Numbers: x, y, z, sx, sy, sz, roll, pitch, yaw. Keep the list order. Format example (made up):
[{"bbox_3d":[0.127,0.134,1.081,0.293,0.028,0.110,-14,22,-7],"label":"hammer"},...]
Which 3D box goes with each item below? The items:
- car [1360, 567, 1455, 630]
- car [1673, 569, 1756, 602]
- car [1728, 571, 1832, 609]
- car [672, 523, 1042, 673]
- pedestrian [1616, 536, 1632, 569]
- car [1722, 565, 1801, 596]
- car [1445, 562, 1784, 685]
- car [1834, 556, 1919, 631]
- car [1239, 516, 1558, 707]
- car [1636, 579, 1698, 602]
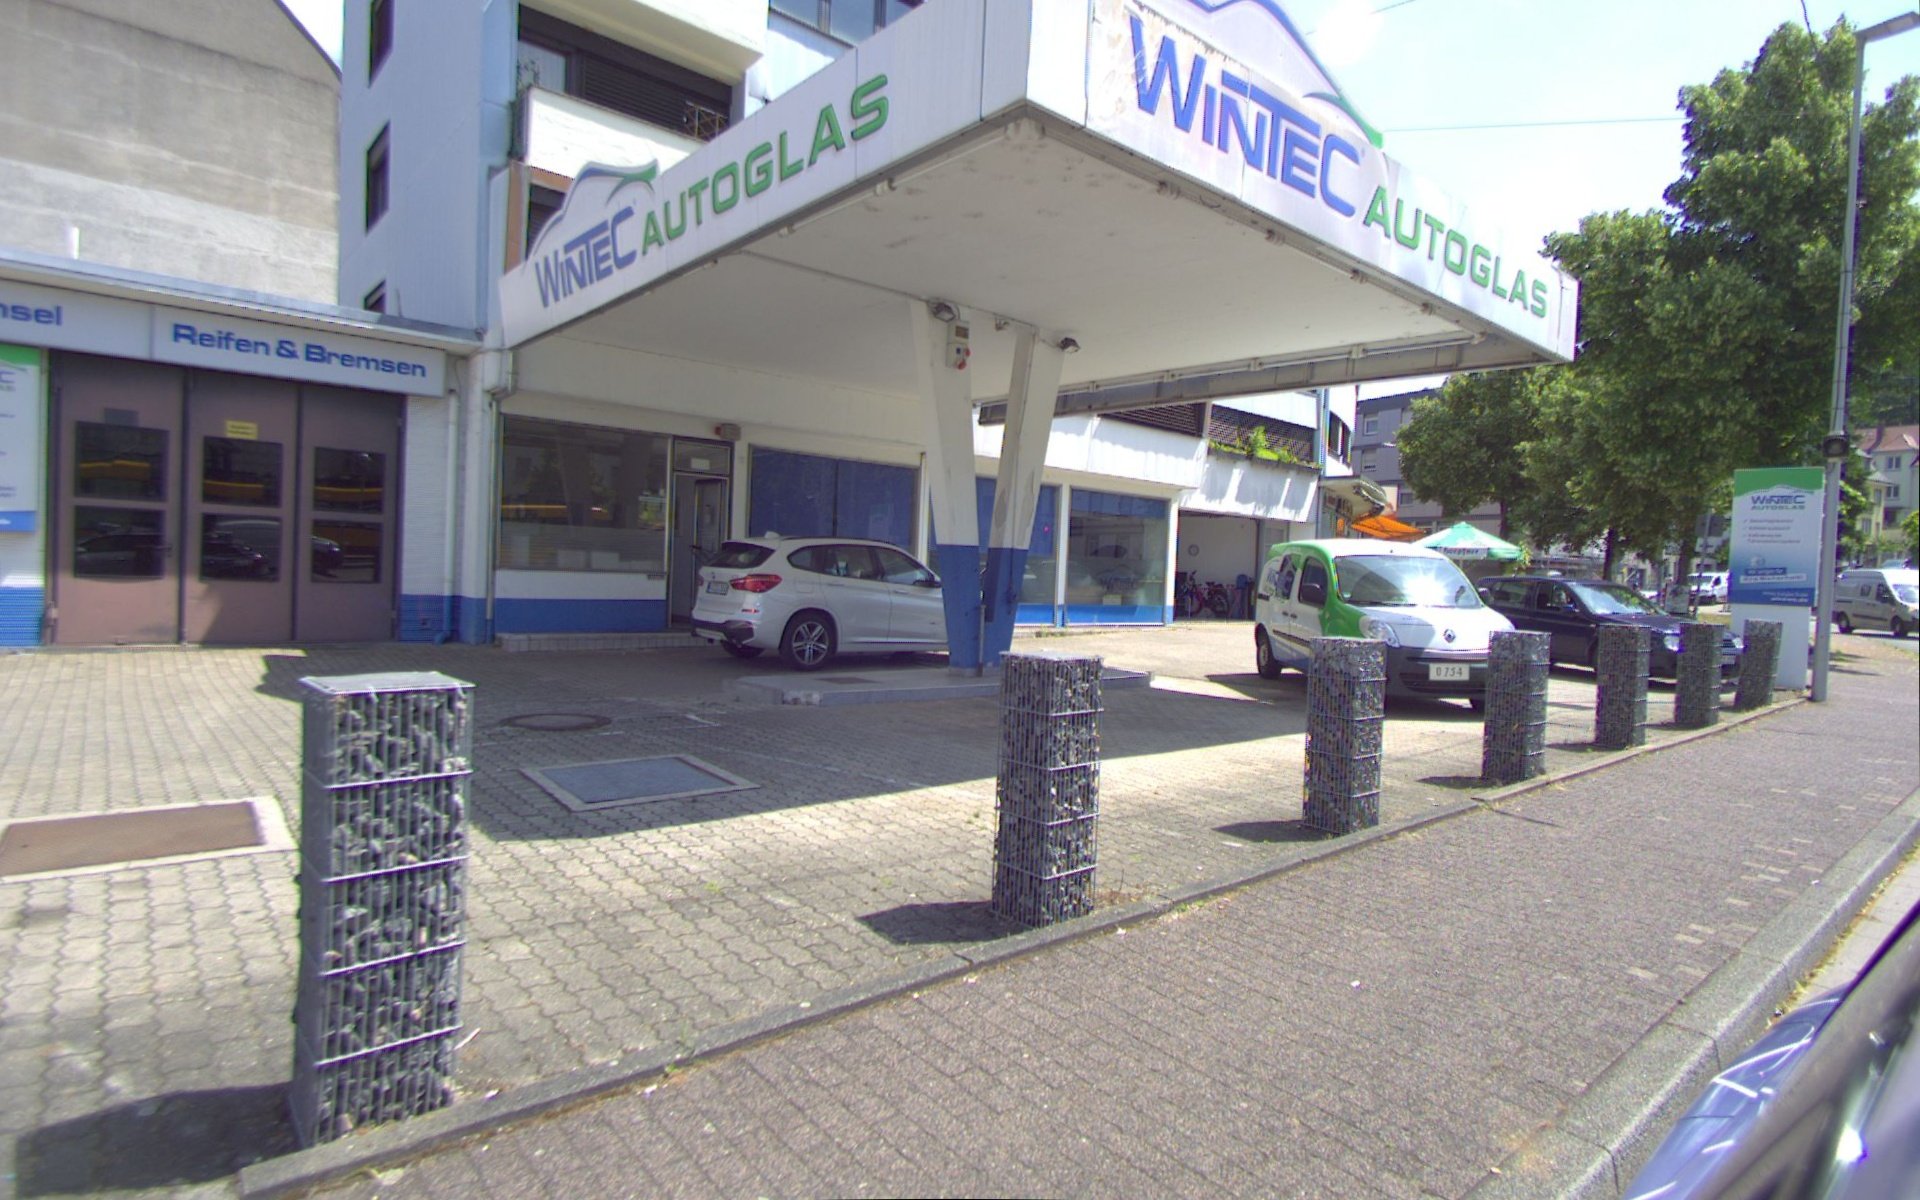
[{"bbox_3d":[11.222,-0.092,25.220,1.699,1.417,4.238,1,2,30],"label":"car"},{"bbox_3d":[49.064,-0.948,65.776,5.273,2.039,2.405,-1,1,-29],"label":"car"},{"bbox_3d":[46.151,-0.598,56.903,6.245,2.039,2.405,-1,1,-29],"label":"car"},{"bbox_3d":[-1.210,-0.060,13.276,4.621,1.646,1.750,0,2,-39],"label":"car"},{"bbox_3d":[41.744,-2.985,63.619,0.692,2.039,0.626,-1,1,-32],"label":"pedestrian"},{"bbox_3d":[54.720,-1.365,69.048,5.273,2.039,2.405,-1,1,-29],"label":"car"},{"bbox_3d":[9.284,0.247,14.792,1.664,1.446,3.984,1,3,-16],"label":"car"},{"bbox_3d":[31.097,-0.257,33.065,1.974,2.299,5.412,0,1,19],"label":"car"},{"bbox_3d":[4.784,0.066,11.817,1.788,1.812,4.291,0,1,-1],"label":"car"},{"bbox_3d":[44.019,-0.605,63.002,4.073,1.386,1.534,-1,1,-29],"label":"car"}]
